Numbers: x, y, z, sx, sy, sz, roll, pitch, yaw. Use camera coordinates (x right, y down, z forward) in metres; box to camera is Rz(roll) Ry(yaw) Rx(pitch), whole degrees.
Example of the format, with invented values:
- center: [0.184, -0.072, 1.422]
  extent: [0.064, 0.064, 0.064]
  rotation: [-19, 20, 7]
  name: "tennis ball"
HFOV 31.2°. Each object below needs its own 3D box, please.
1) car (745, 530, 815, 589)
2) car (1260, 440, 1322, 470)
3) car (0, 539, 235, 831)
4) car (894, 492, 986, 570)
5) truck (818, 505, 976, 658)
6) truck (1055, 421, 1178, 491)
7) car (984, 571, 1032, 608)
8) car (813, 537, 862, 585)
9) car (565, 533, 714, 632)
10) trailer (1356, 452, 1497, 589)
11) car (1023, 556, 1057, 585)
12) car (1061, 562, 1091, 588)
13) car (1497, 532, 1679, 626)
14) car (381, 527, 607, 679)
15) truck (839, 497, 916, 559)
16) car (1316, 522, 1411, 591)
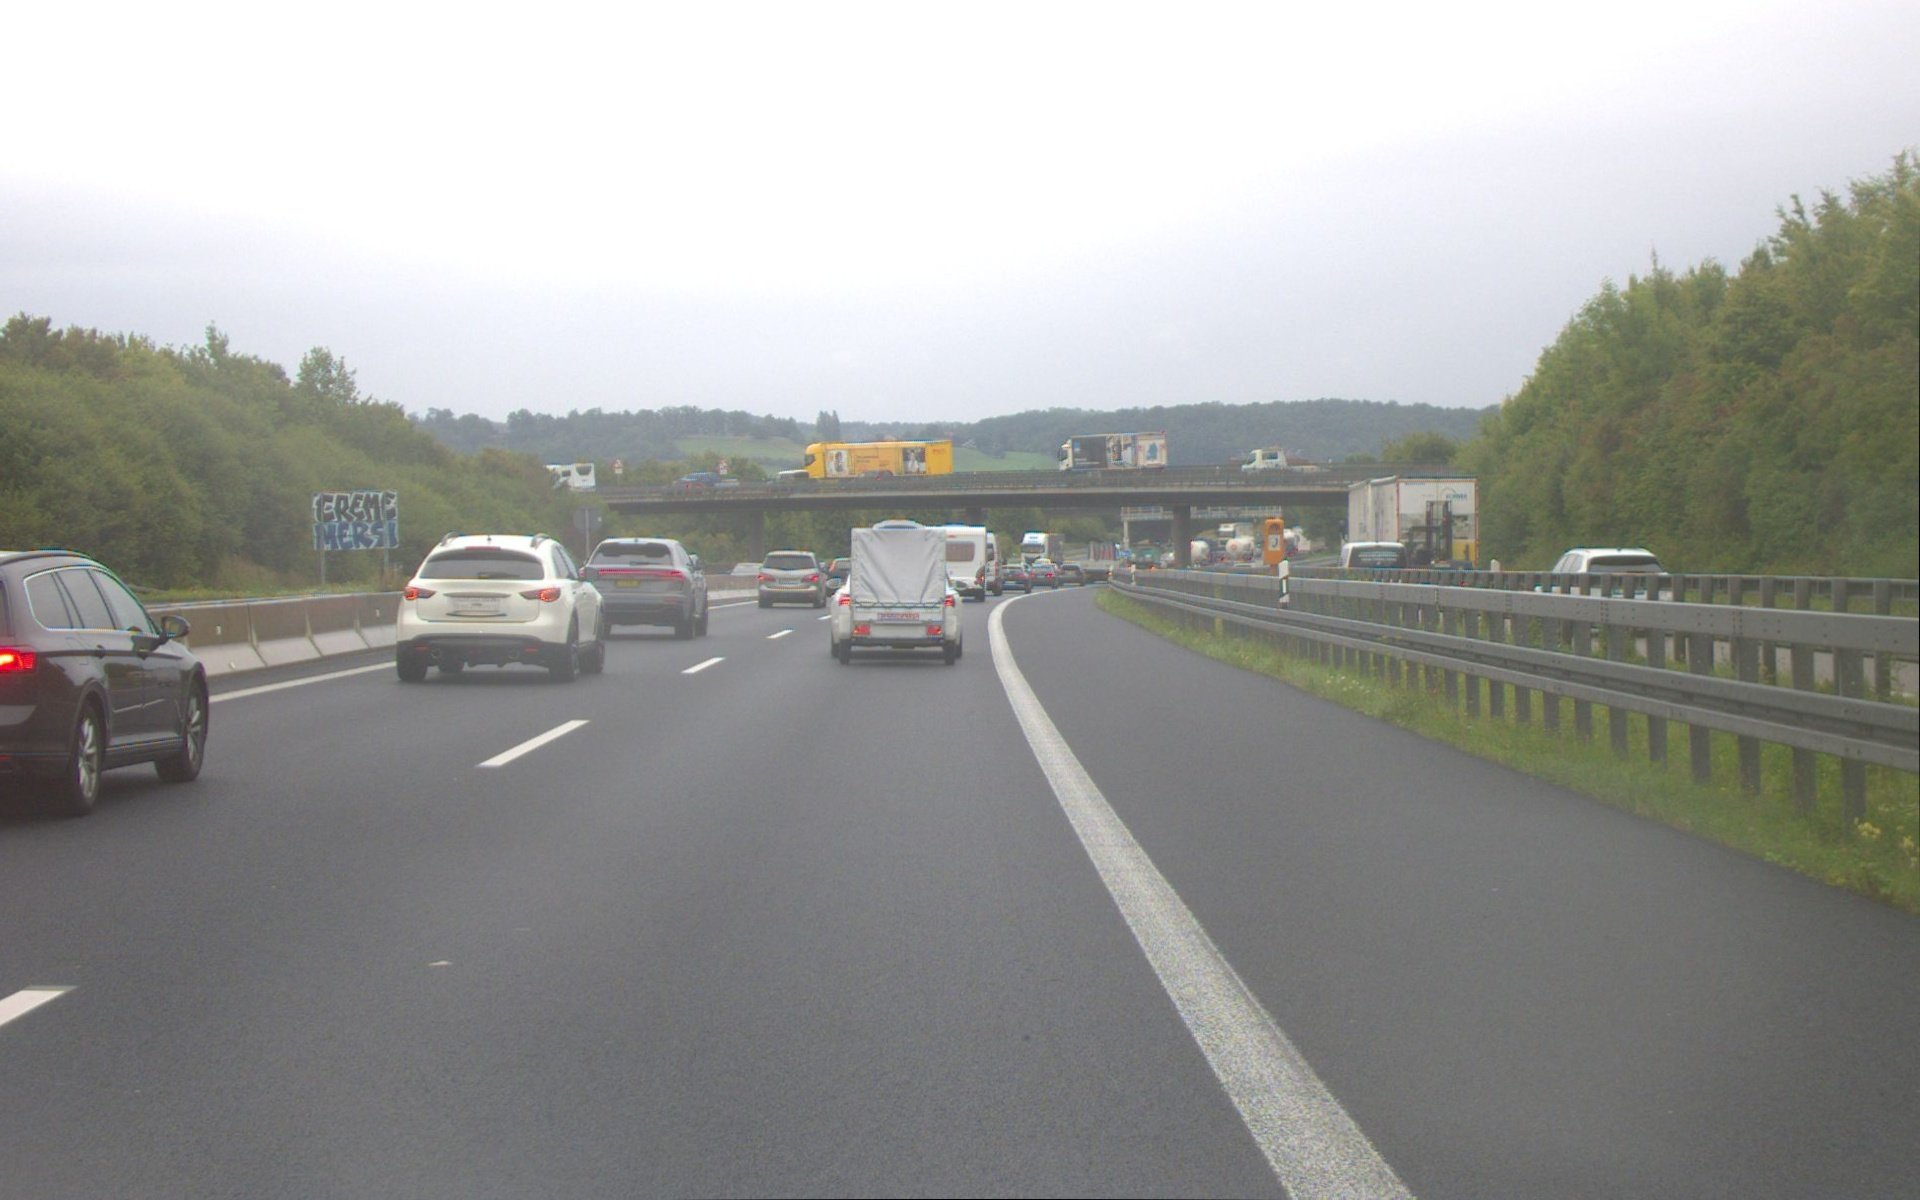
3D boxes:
- center: [-5.030, -1.164, 96.683]
  extent: [1.900, 1.607, 4.017]
  rotation: [0, 1, -2]
  name: "car"
- center: [22.421, -9.833, 232.977]
  extent: [1.838, 1.908, 3.999]
  rotation: [0, 1, -39]
  name: "car"
- center: [-5.639, 0.412, 19.978]
  extent: [1.900, 1.492, 4.852]
  rotation: [0, 1, -1]
  name: "car"
- center: [-0.640, -2.387, 118.344]
  extent: [3.017, 2.607, 6.075]
  rotation: [0, 1, 1]
  name: "car"
- center: [-0.791, -0.316, 47.983]
  extent: [2.019, 1.978, 7.213]
  rotation: [0, 1, 0]
  name: "truck"
- center: [11.327, -10.420, 249.700]
  extent: [3.766, 4.819, 10.044]
  rotation: [0, 1, -33]
  name: "truck"
- center: [2.321, -0.521, 166.909]
  extent: [1.993, 1.744, 4.001]
  rotation: [1, 1, -3]
  name: "car"
- center: [-4.630, -1.491, 130.109]
  extent: [1.841, 1.813, 4.001]
  rotation: [0, 1, -2]
  name: "car"
- center: [-5.438, -0.329, 58.876]
  extent: [2.174, 1.626, 4.501]
  rotation: [0, 1, -1]
  name: "car"
- center: [15.170, -2.586, 112.548]
  extent: [3.437, 4.274, 10.454]
  rotation: [0, 1, 2]
  name: "trailer"
- center: [4.959, -1.858, 213.303]
  extent: [1.993, 1.744, 4.000]
  rotation: [1, 1, 0]
  name: "car"
- center: [8.126, -1.772, 240.770]
  extent: [1.993, 1.744, 4.000]
  rotation: [1, 1, 1]
  name: "car"
- center: [10.683, -0.380, 58.806]
  extent: [2.007, 1.543, 4.696]
  rotation: [0, 1, -3]
  name: "car"
- center: [-5.233, -0.004, 39.162]
  extent: [1.976, 1.633, 4.501]
  rotation: [0, 1, 0]
  name: "car"
- center: [-4.840, -4.252, 204.302]
  extent: [3.766, 3.542, 13.186]
  rotation: [0, 1, 2]
  name: "truck"
- center: [10.799, -1.180, 92.197]
  extent: [1.859, 1.799, 4.648]
  rotation: [0, 1, -2]
  name: "car"
